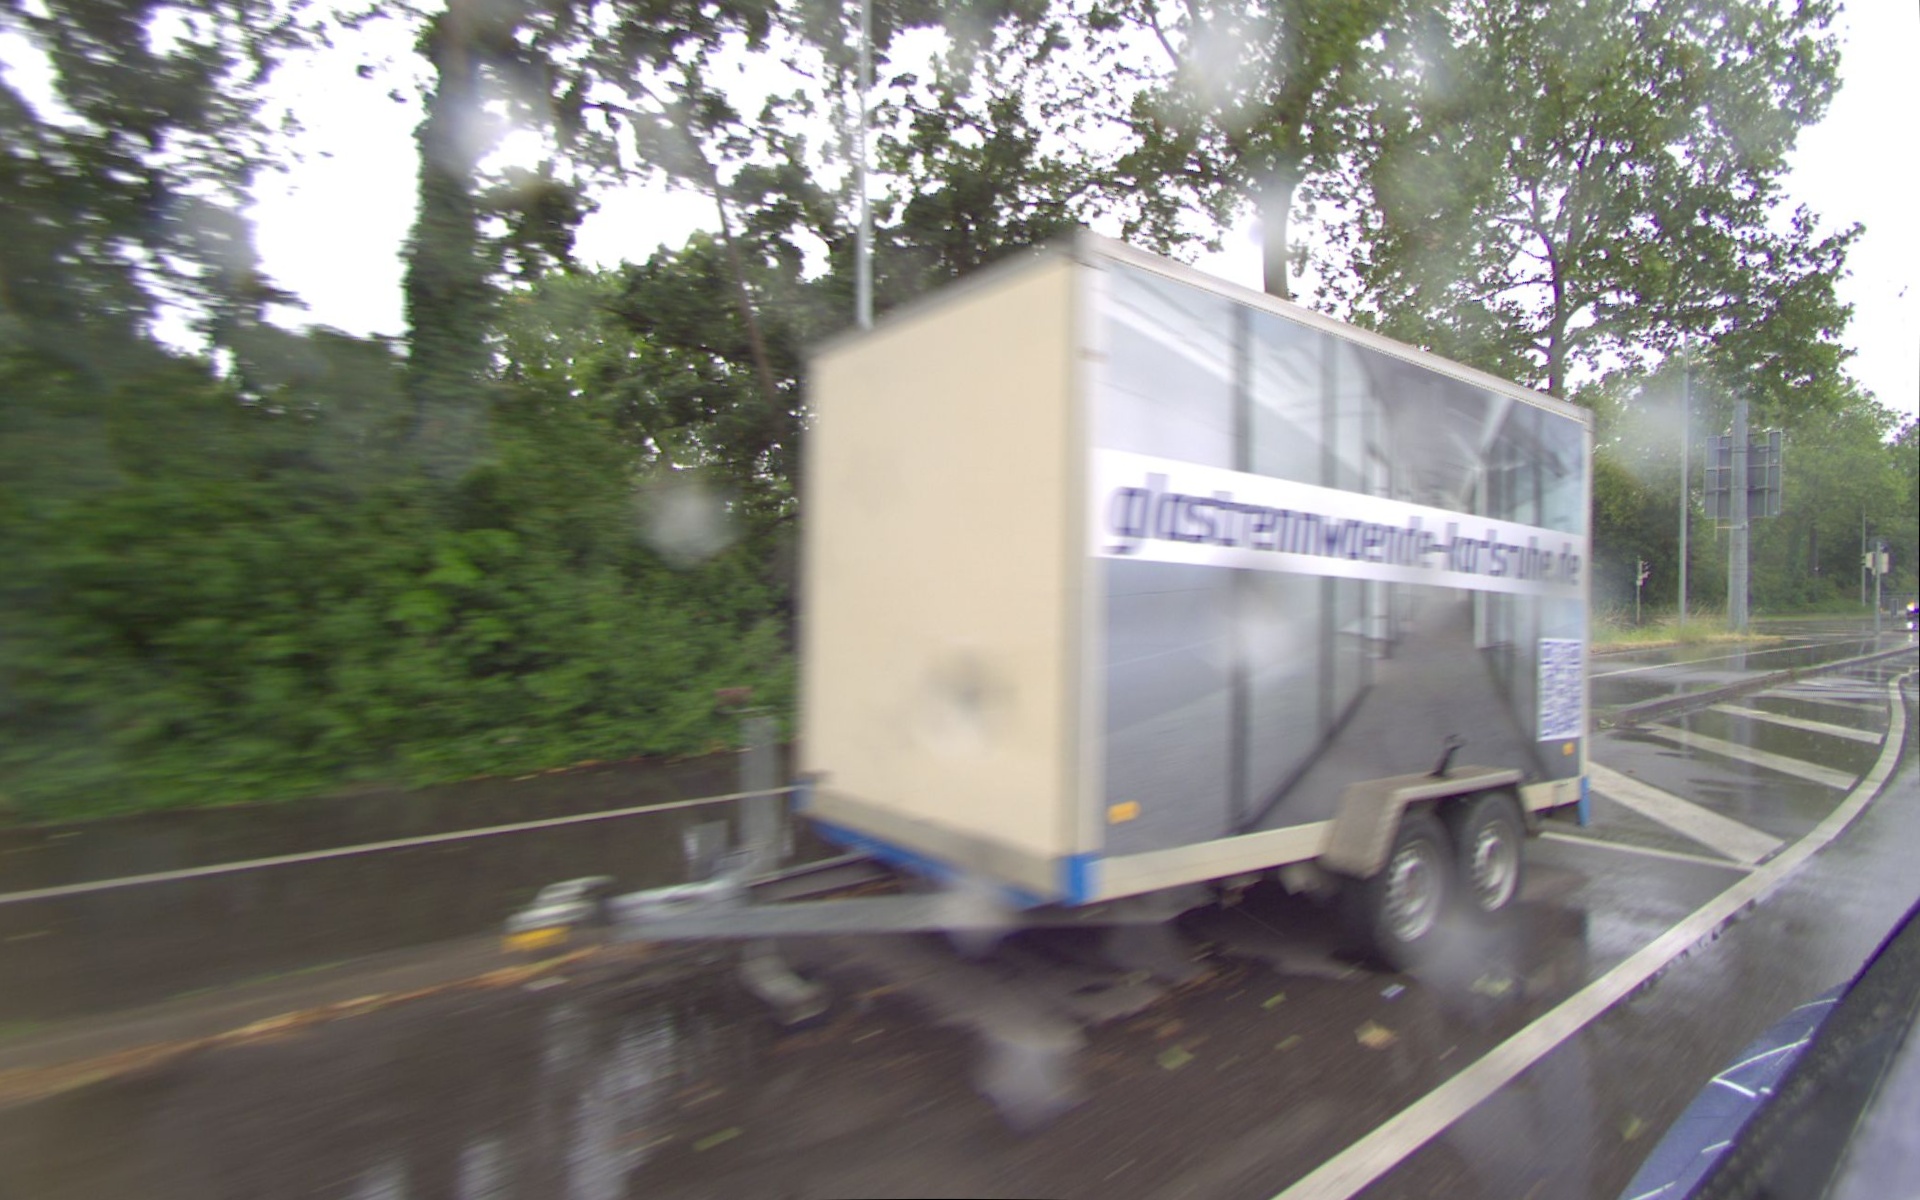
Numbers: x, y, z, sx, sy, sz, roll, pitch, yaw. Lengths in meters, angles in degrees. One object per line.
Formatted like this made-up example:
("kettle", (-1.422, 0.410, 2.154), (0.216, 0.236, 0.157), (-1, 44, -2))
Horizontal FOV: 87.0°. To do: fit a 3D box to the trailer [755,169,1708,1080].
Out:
("trailer", (1.899, 0.017, 5.657), (5.572, 2.792, 2.172), (-1, 1, -37))
